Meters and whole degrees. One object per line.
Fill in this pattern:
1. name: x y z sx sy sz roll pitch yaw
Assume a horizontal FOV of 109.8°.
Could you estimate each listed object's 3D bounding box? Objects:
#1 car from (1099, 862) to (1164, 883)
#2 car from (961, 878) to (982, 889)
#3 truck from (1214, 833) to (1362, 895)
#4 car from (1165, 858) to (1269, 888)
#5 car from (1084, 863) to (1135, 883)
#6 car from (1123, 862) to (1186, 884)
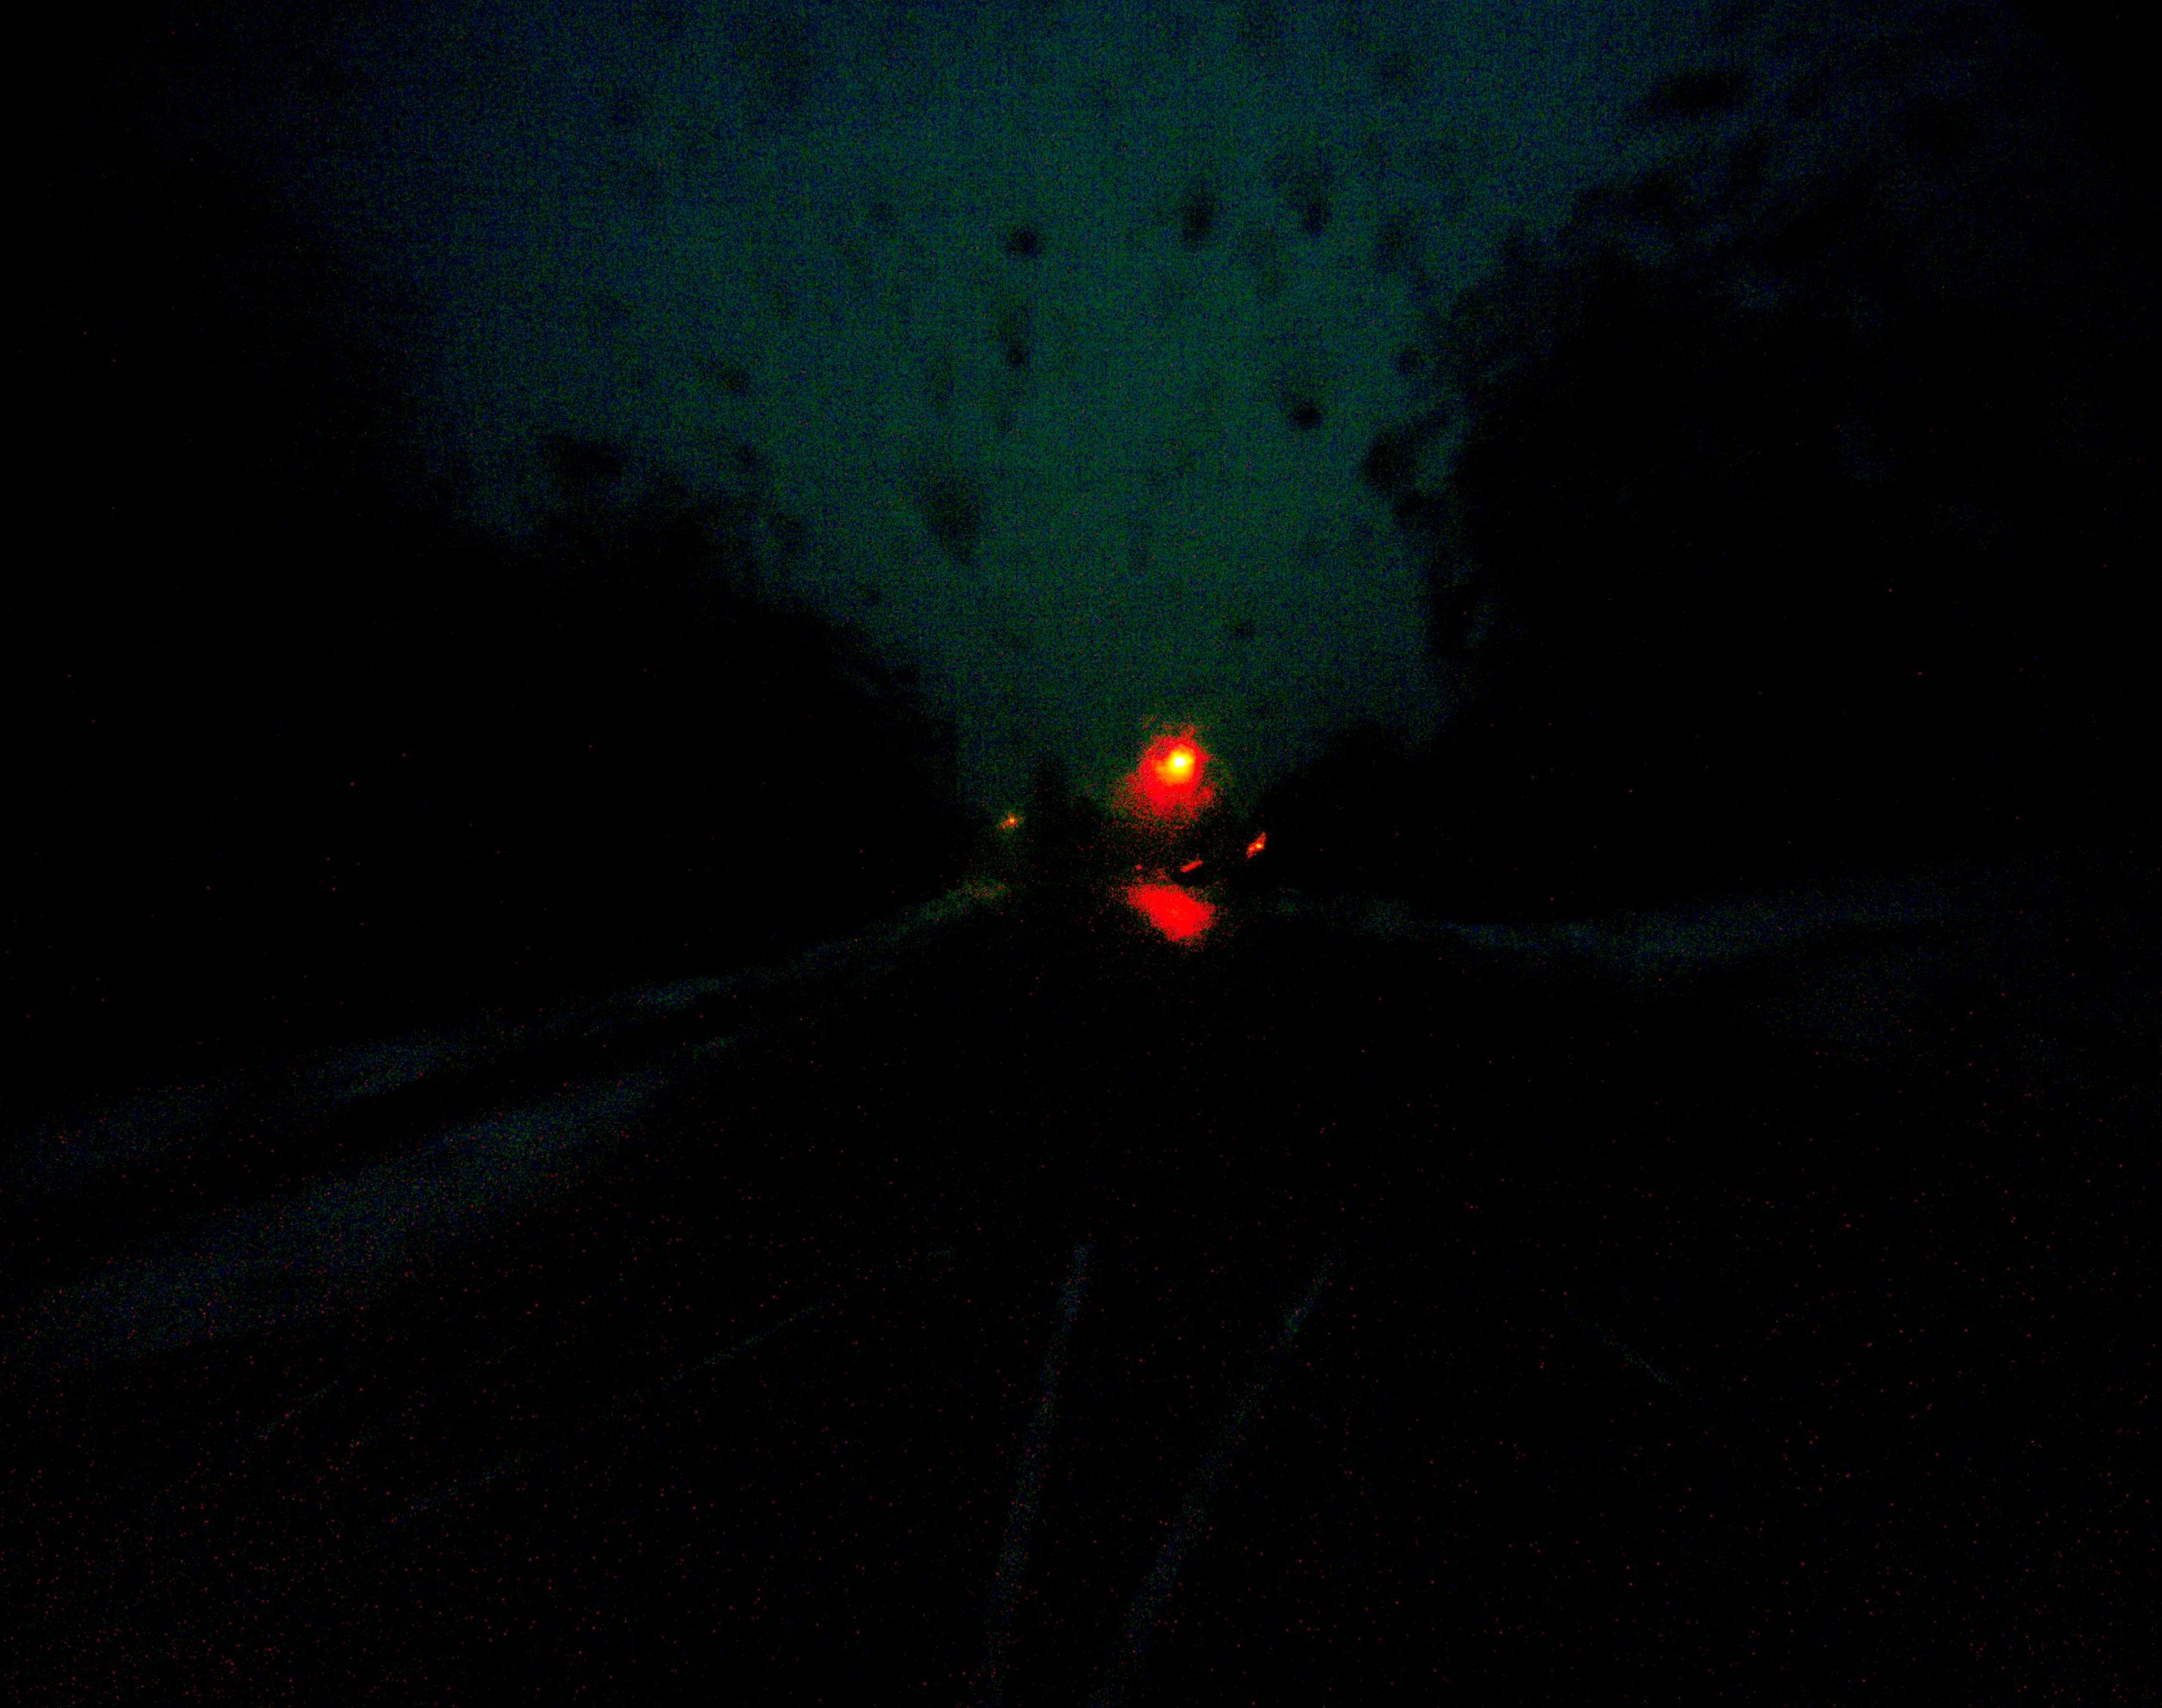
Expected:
1. car: 3.894 1.433 58.401 4.547 1.556 2.108 1 -2 -19
2. car: -16.368 4.382 113.430 1.885 1.417 5.385 -3 -3 -23
3. truck: 8.060 0.413 29.748 5.280 2.288 1.998 1 -1 -12
4. car: 7.019 1.018 39.502 4.904 1.476 2.122 1 -1 -11
5. car: 2.324 1.605 63.952 2.003 1.556 4.986 2 -2 -29
6. car: 5.088 1.321 52.704 3.869 1.462 1.936 1 -2 -15
